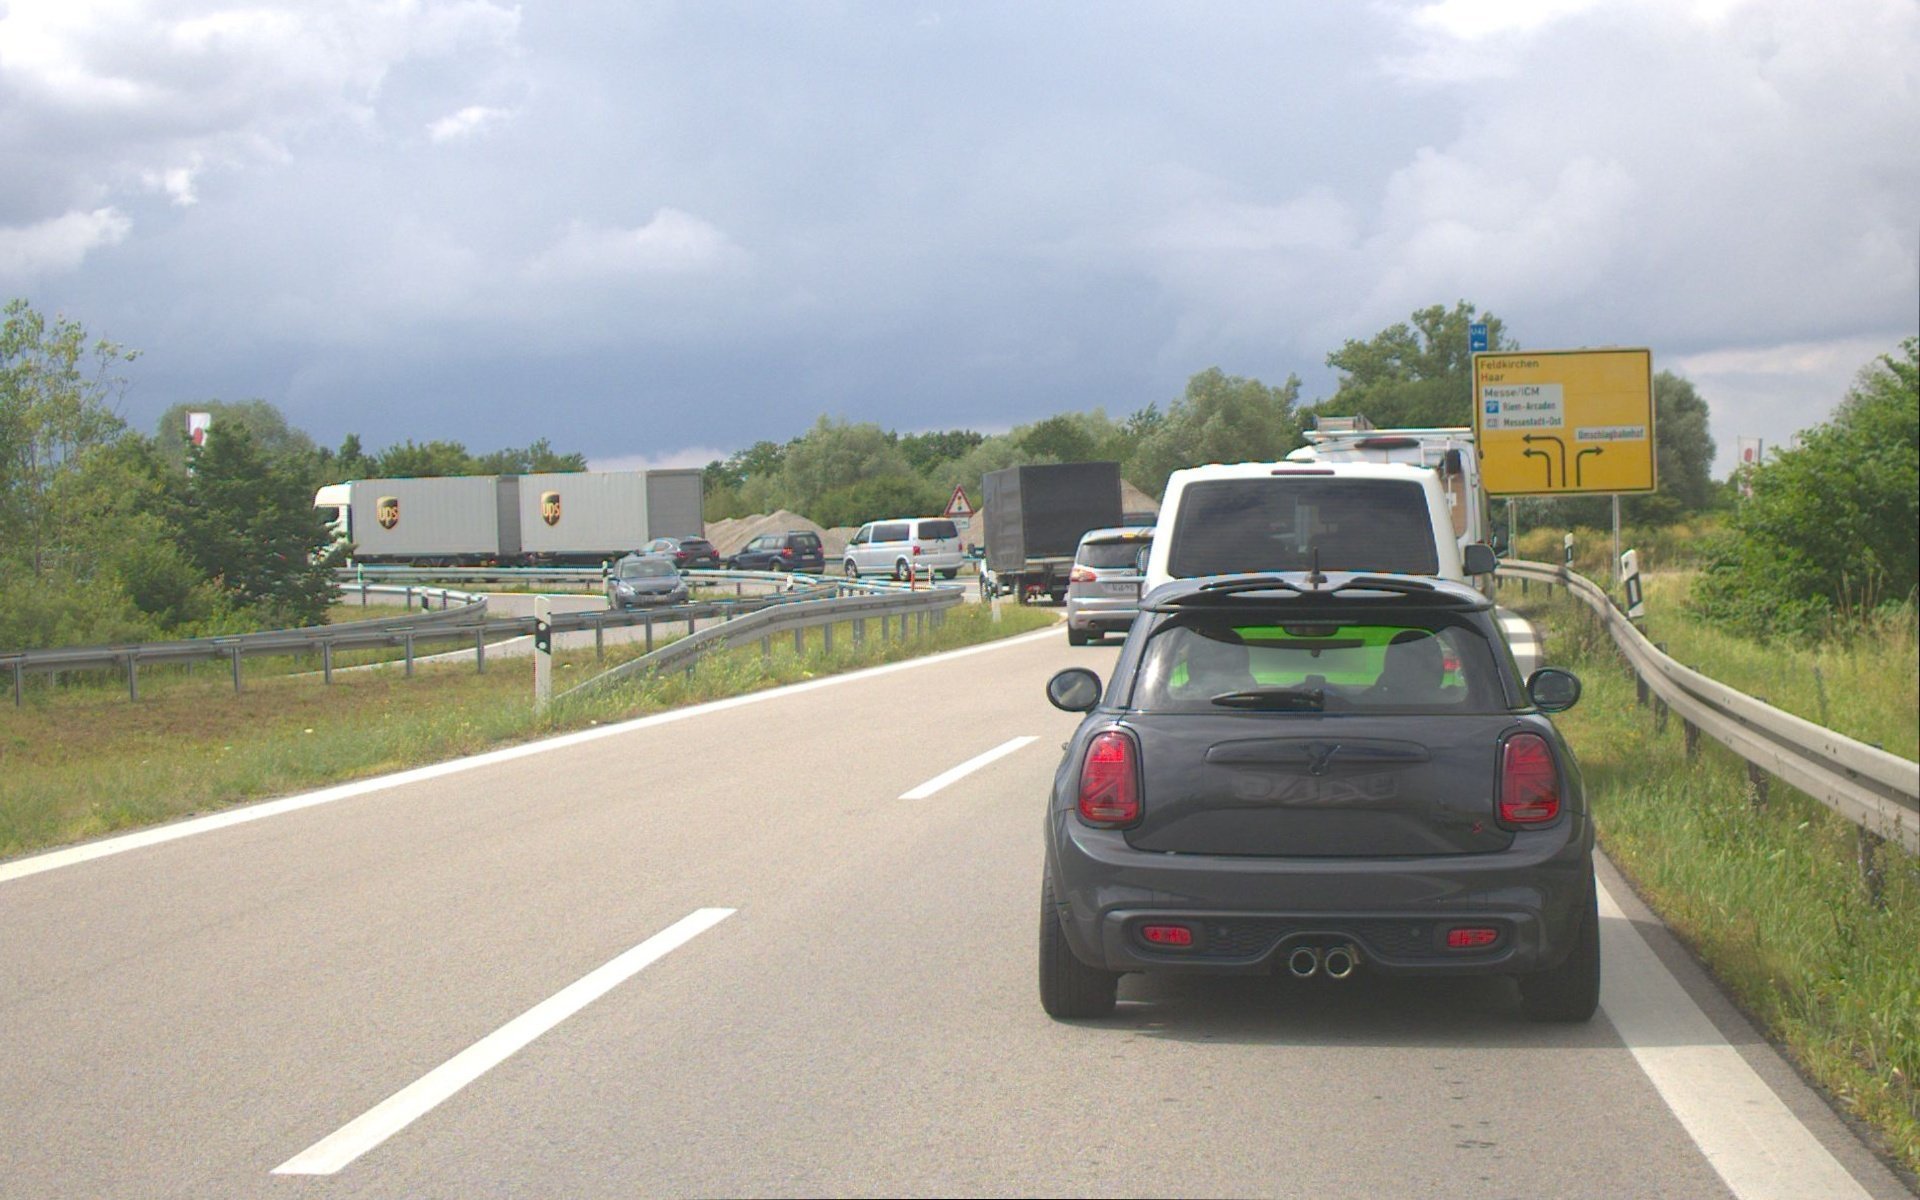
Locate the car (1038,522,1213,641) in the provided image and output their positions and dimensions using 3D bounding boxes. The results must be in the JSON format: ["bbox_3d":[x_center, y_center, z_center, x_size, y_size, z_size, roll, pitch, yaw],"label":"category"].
[{"bbox_3d":[2.414,-0.257,49.034,2.022,1.572,4.585,-1,0,8],"label":"car"}]

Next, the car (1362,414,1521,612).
[{"bbox_3d":[8.060,-1.359,57.026,2.312,3.058,6.659,1,0,10],"label":"car"}]

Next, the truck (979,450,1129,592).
[{"bbox_3d":[2.144,-1.795,81.487,2.560,3.157,7.469,1,0,-6],"label":"truck"}]

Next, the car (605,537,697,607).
[{"bbox_3d":[-7.677,-0.678,85.154,1.759,1.587,4.001,-3,0,-12],"label":"car"}]

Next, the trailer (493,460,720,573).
[{"bbox_3d":[-12.709,-2.947,123.147,8.766,3.885,3.038,1,0,43],"label":"trailer"}]

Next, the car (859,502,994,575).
[{"bbox_3d":[-1.114,-1.934,109.996,2.289,2.252,5.108,1,0,-26],"label":"car"}]

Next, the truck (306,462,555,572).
[{"bbox_3d":[-19.934,-3.093,129.034,10.017,3.962,2.839,1,0,35],"label":"truck"}]

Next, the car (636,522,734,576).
[{"bbox_3d":[-9.253,-1.696,115.365,1.812,1.750,4.000,1,0,-28],"label":"car"}]

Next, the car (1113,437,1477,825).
[{"bbox_3d":[2.070,0.144,20.251,1.911,2.038,4.179,0,0,8],"label":"car"}]

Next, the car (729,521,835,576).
[{"bbox_3d":[-6.095,-1.743,117.444,1.921,1.831,4.318,1,0,-28],"label":"car"}]

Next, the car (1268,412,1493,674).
[{"bbox_3d":[4.573,-0.574,37.385,2.212,2.613,5.533,1,0,7],"label":"car"}]

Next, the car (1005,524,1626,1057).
[{"bbox_3d":[1.156,0.531,11.941,1.800,1.541,3.738,0,1,4],"label":"car"}]
